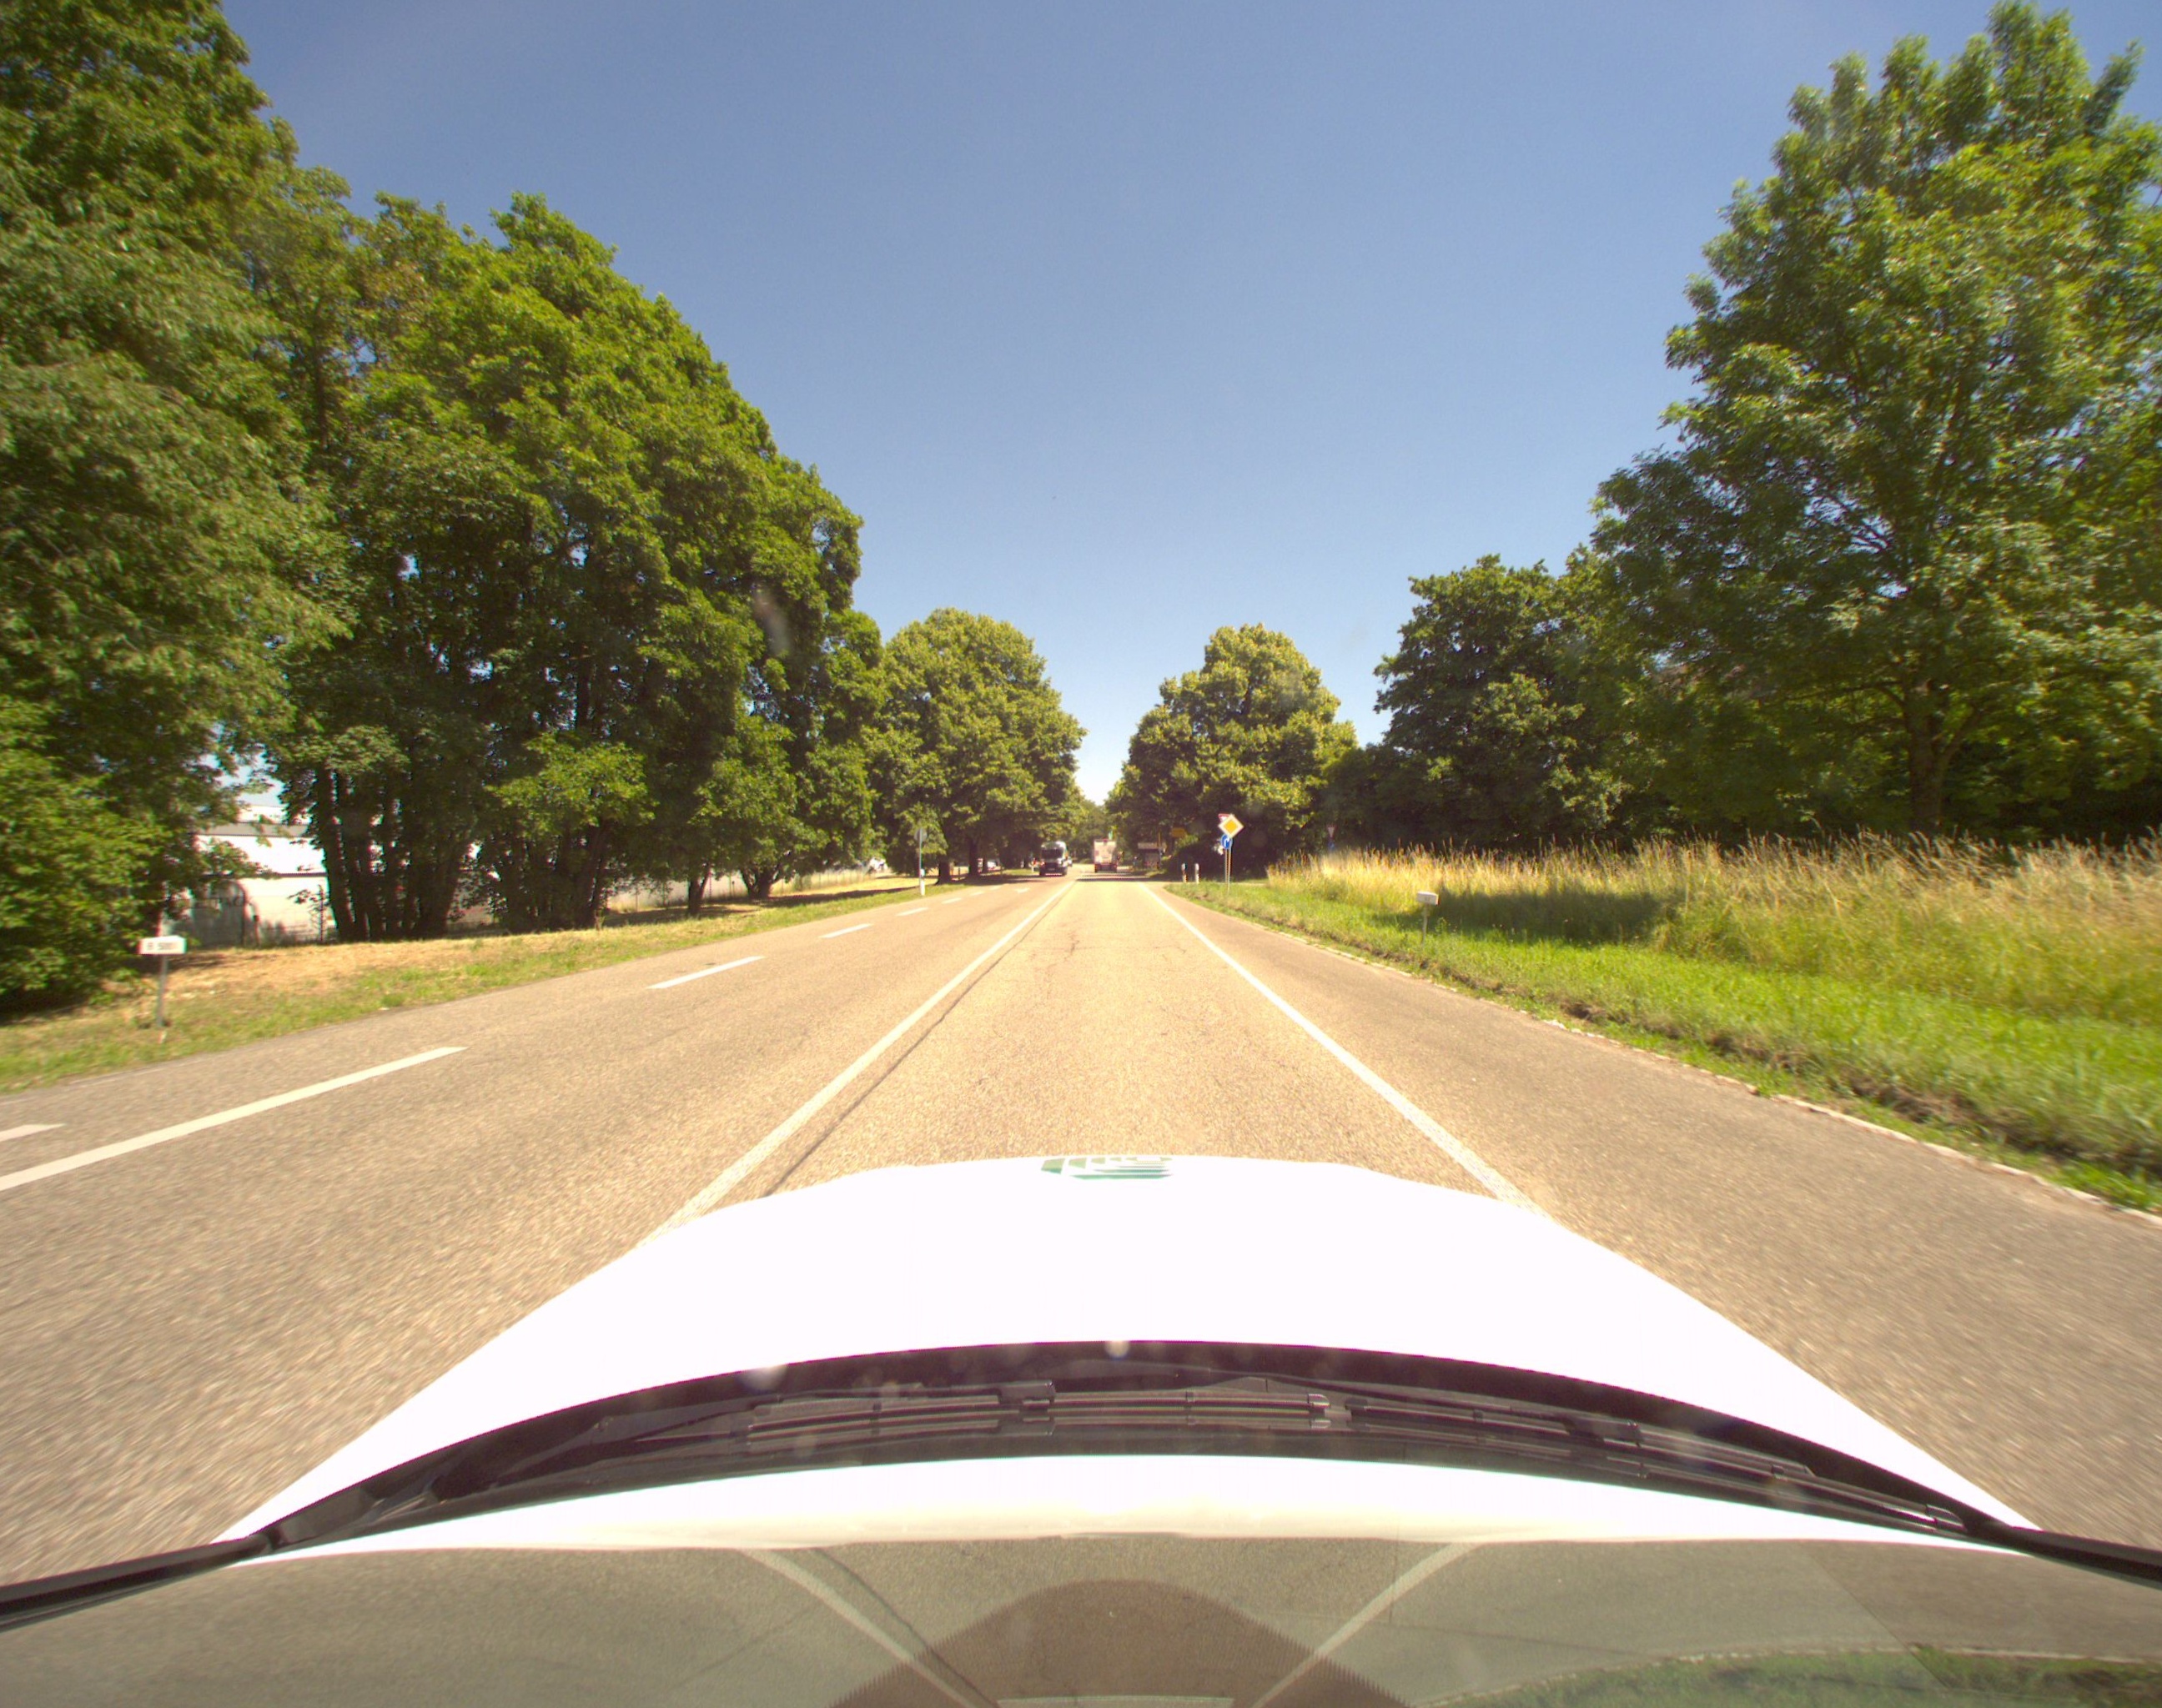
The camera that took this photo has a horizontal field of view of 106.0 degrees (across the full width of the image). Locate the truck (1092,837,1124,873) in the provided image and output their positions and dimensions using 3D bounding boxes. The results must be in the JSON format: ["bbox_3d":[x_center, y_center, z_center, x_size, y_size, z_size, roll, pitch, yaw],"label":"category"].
[{"bbox_3d":[2.510,0.050,74.542,2.521,3.135,5.370,-1,0,6],"label":"truck"}]

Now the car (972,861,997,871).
[{"bbox_3d":[-14.153,1.755,119.486,3.390,1.362,1.343,-2,-1,30],"label":"car"}]

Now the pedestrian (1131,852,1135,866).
[{"bbox_3d":[6.504,0.650,101.780,0.545,1.776,0.578,-1,-1,6],"label":"pedestrian"}]

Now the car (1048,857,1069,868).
[{"bbox_3d":[-4.020,1.493,144.013,2.001,1.857,5.277,-1,-1,-21],"label":"car"}]

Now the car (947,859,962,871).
[{"bbox_3d":[-17.946,1.563,115.603,1.738,1.585,3.982,-1,0,-13],"label":"car"}]

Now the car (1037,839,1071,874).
[{"bbox_3d":[-2.057,0.207,64.620,2.064,2.627,6.789,-1,-1,3],"label":"car"}]
